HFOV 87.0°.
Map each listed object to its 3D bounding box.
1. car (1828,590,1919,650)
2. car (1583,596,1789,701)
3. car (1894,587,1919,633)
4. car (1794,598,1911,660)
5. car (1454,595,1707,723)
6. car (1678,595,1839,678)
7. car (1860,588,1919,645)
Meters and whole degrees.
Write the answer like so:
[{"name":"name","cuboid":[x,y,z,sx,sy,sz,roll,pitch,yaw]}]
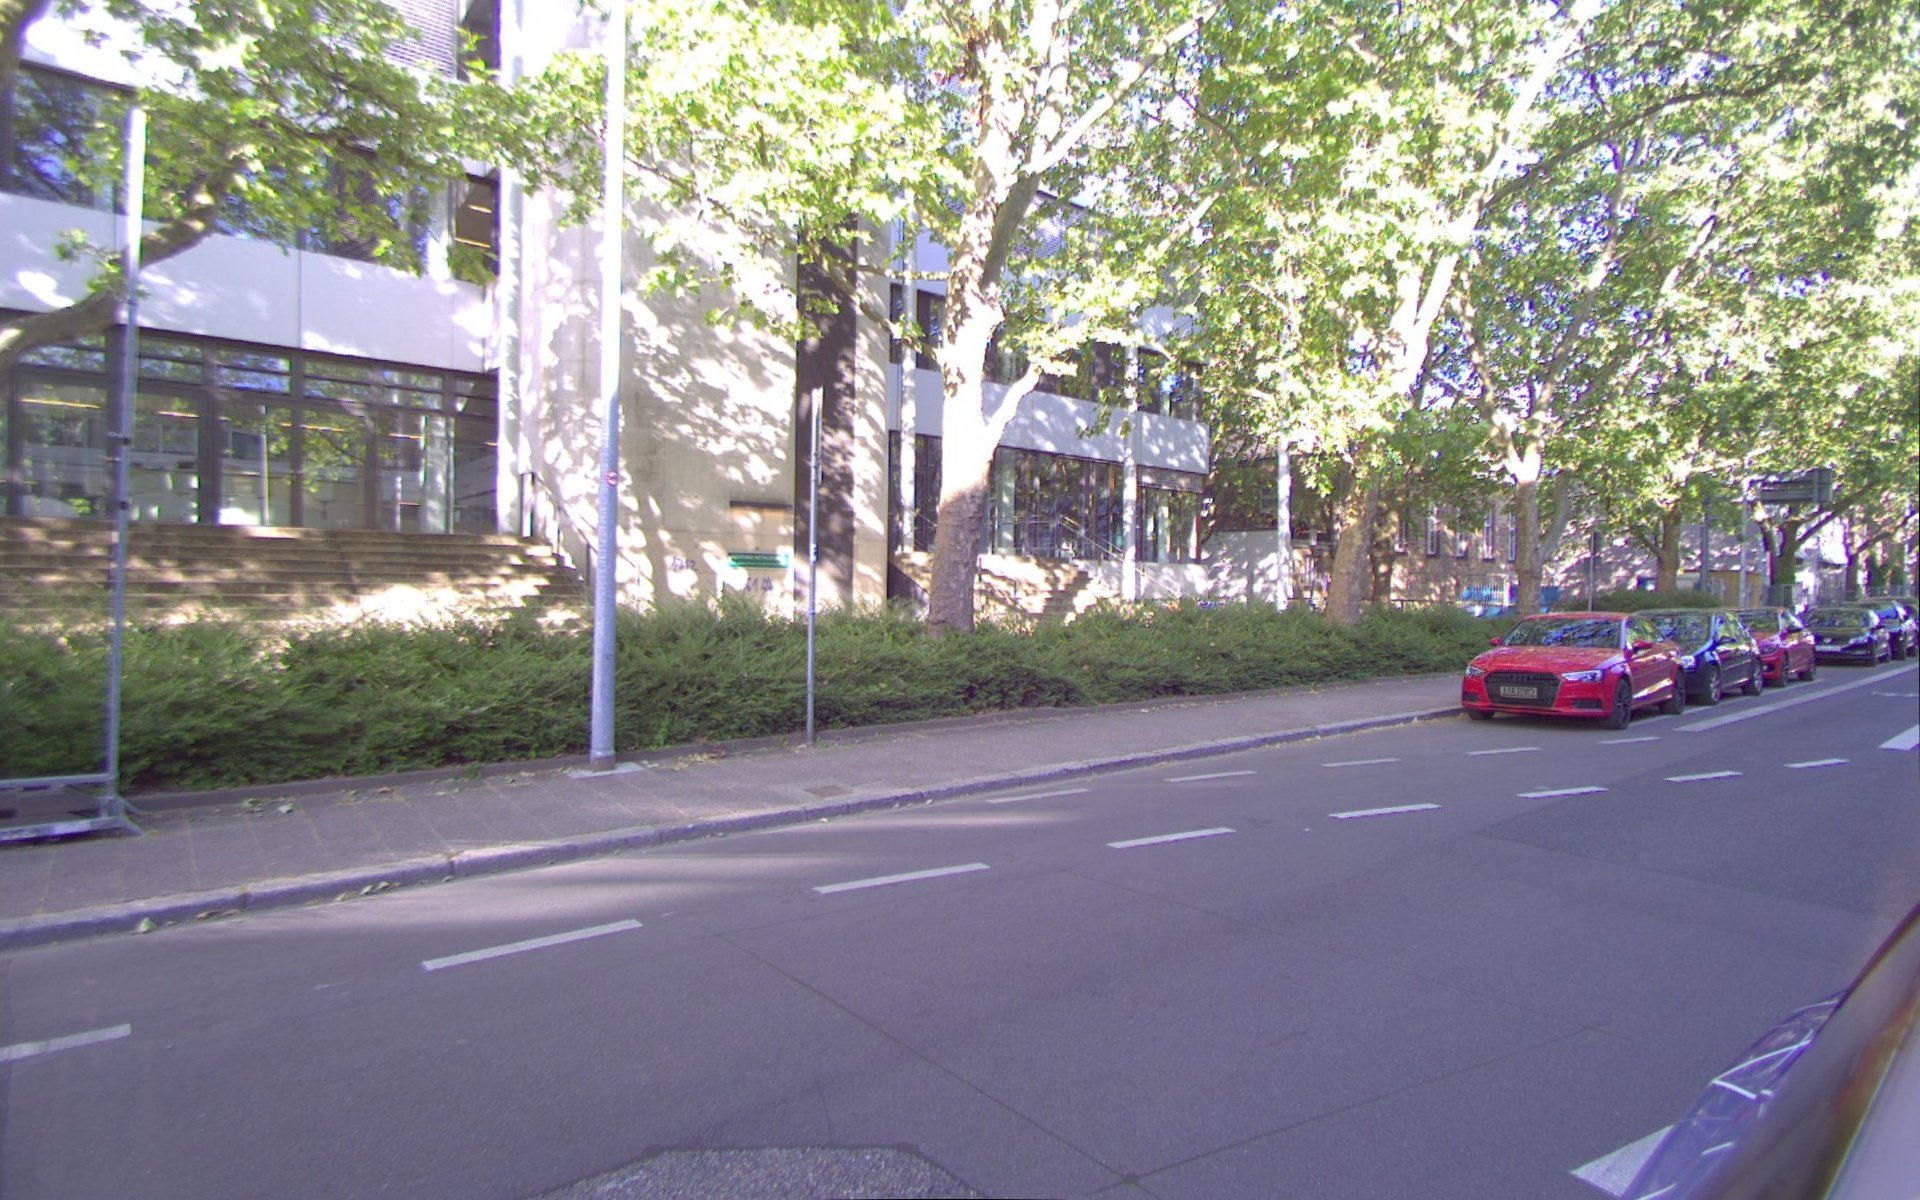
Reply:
[{"name":"car","cuboid":[26.632,0.530,29.188,4.158,1.601,1.847,0,1,-41]},{"name":"car","cuboid":[11.916,0.694,16.535,3.929,1.475,1.812,0,1,-40]},{"name":"car","cuboid":[35.725,0.368,37.070,4.004,1.638,1.797,0,1,-41]},{"name":"car","cuboid":[22.968,0.686,25.991,3.930,1.456,1.744,0,1,-41]},{"name":"car","cuboid":[8.368,0.670,13.504,4.101,1.443,1.773,0,-1,-42]},{"name":"car","cuboid":[15.797,0.644,19.954,3.930,1.456,1.789,0,1,-41]},{"name":"car","cuboid":[31.067,0.487,33.049,4.188,1.747,1.997,-1,0,-41]}]
